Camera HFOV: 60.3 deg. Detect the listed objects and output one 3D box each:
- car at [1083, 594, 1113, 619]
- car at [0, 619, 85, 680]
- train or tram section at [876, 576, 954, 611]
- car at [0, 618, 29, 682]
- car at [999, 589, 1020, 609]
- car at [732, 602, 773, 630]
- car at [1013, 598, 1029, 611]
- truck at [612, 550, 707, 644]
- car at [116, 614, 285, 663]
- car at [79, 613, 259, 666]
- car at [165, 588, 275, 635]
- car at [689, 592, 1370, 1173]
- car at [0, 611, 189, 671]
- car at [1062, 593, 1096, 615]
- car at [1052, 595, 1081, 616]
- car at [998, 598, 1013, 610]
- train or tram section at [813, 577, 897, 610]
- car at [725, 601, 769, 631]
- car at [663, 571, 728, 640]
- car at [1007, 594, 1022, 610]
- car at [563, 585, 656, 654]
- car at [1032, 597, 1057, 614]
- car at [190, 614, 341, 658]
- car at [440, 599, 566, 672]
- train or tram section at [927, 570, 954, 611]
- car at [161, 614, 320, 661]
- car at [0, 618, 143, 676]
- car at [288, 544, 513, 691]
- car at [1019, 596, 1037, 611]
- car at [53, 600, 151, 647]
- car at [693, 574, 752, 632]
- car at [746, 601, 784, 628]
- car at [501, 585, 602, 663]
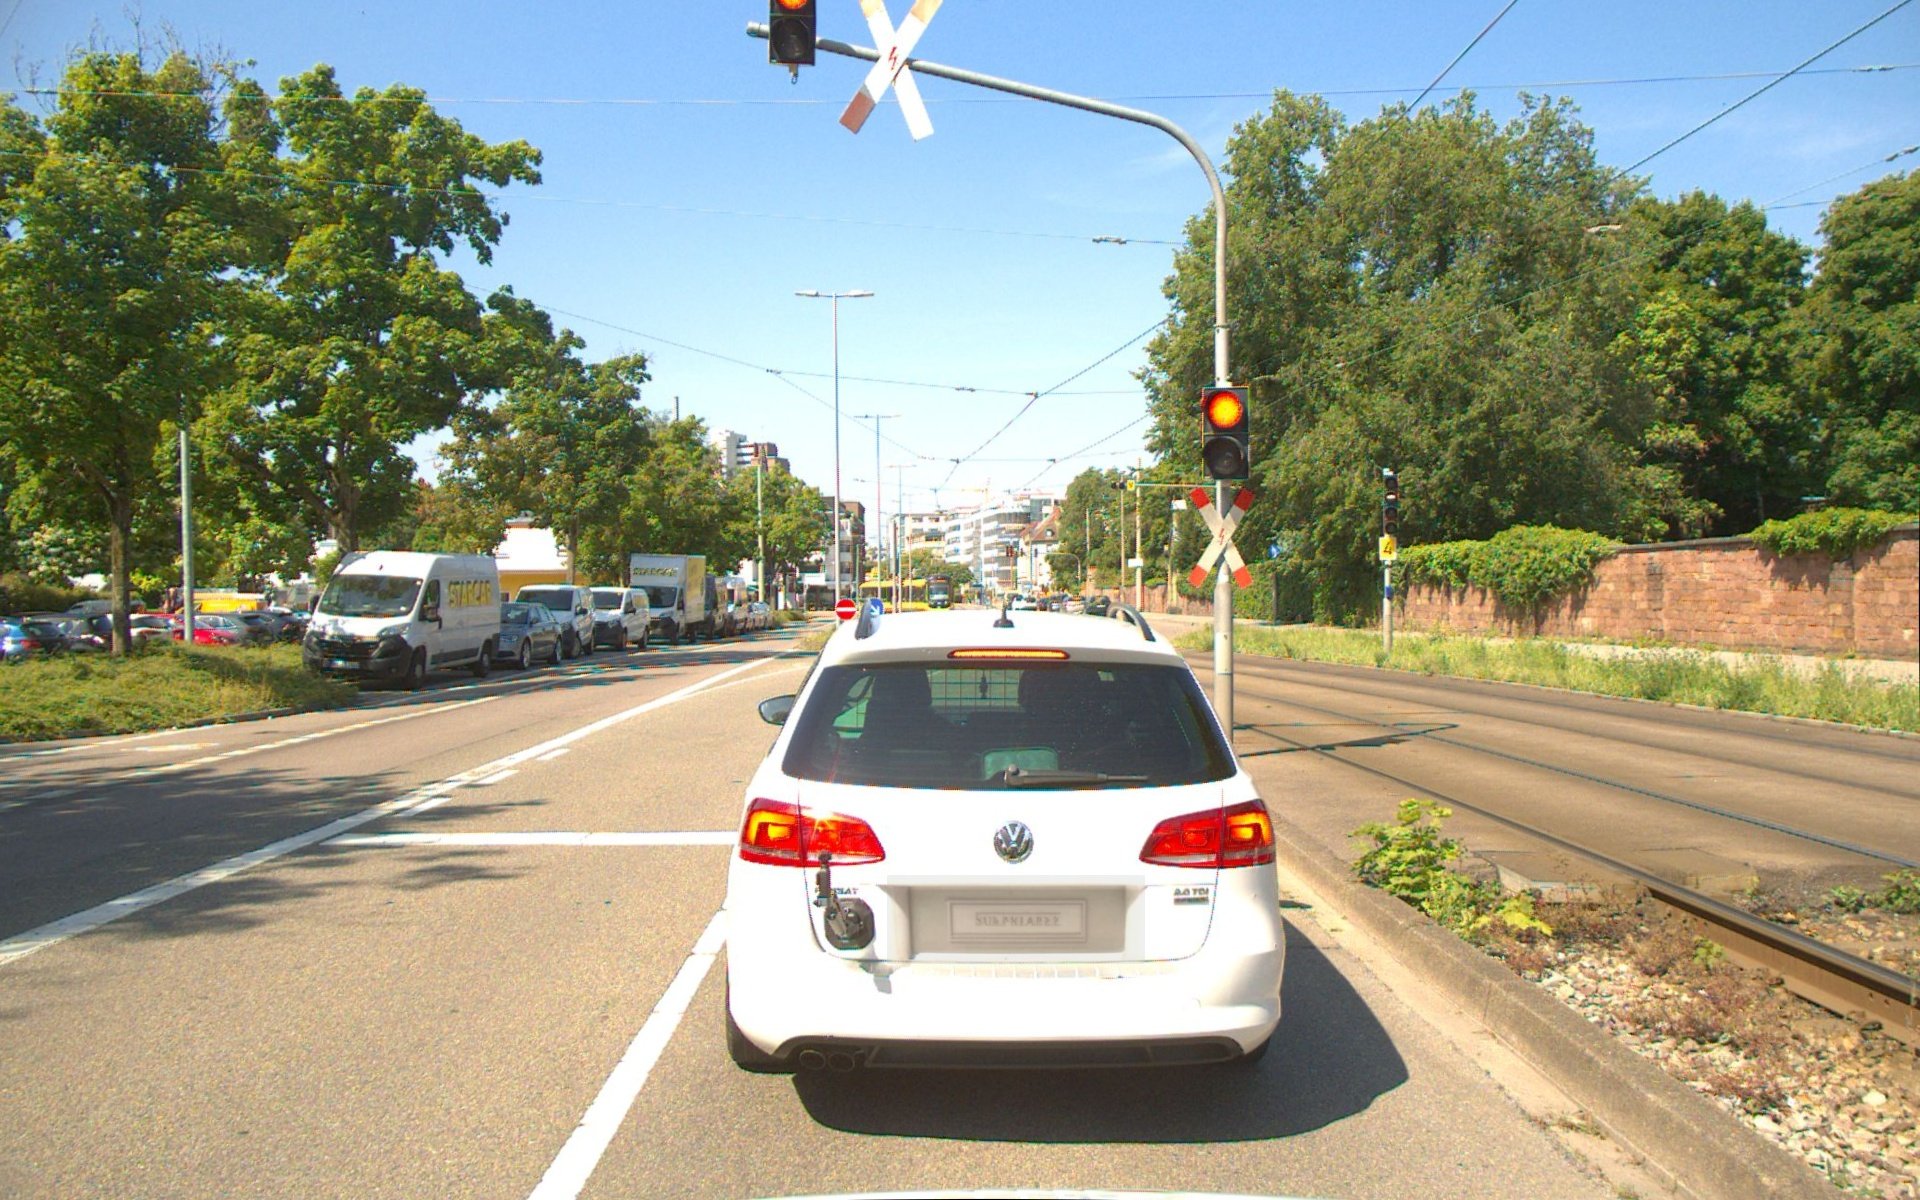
[{"bbox_3d":[8.376,0.375,100.541,1.709,1.412,3.914,1,0,3],"label":"car"},{"bbox_3d":[-21.287,1.081,35.653,3.904,1.246,1.772,-1,0,2],"label":"car"},{"bbox_3d":[-4.527,-0.628,163.652,2.281,3.309,10.679,2,-1,-34],"label":"train or tram section"},{"bbox_3d":[-20.963,1.047,32.840,3.907,1.246,1.770,-1,0,-3],"label":"car"},{"bbox_3d":[6.501,-0.123,216.699,2.413,2.542,5.908,1,-1,-1],"label":"car"},{"bbox_3d":[-11.374,0.867,90.915,1.806,1.458,4.037,-1,0,-1],"label":"car"},{"bbox_3d":[6.792,0.523,183.811,1.549,1.370,3.453,1,-1,-1],"label":"car"},{"bbox_3d":[-10.812,-0.118,60.104,2.309,3.177,6.889,-1,0,-2],"label":"truck"},{"bbox_3d":[-21.352,1.073,46.571,3.904,1.246,1.772,-1,0,2],"label":"car"},{"bbox_3d":[-20.999,1.036,43.982,3.904,1.286,1.772,-1,0,2],"label":"car"},{"bbox_3d":[-34.169,0.541,76.486,4.175,2.049,1.997,1,-1,-7],"label":"car"},{"bbox_3d":[0.130,0.723,6.212,1.732,1.471,3.912,1,0,-2],"label":"car"},{"bbox_3d":[-21.749,1.025,41.553,3.904,1.373,1.772,-1,0,2],"label":"car"},{"bbox_3d":[8.144,0.255,113.541,1.824,1.441,4.323,1,0,-2],"label":"car"},{"bbox_3d":[8.210,0.403,128.251,1.824,1.539,3.911,1,0,-2],"label":"car"},{"bbox_3d":[6.396,0.516,233.180,1.953,1.624,3.999,1,-1,0],"label":"car"},{"bbox_3d":[-10.930,-0.707,171.658,2.292,3.310,10.629,2,-1,-45],"label":"train or tram section"},{"bbox_3d":[-10.953,0.810,85.274,1.806,1.458,4.037,-1,0,-1],"label":"car"},{"bbox_3d":[-10.817,0.208,67.941,1.806,2.715,5.003,-1,0,0],"label":"car"},{"bbox_3d":[6.495,0.278,197.110,1.657,1.844,3.453,1,-1,-1],"label":"car"},{"bbox_3d":[-10.902,0.565,51.767,1.806,1.995,5.133,-1,0,0],"label":"car"},{"bbox_3d":[7.378,0.455,144.431,1.711,1.432,3.911,1,0,-3],"label":"car"},{"bbox_3d":[-21.573,1.113,51.487,3.904,1.246,1.772,-1,0,2],"label":"car"},{"bbox_3d":[-10.557,0.776,38.507,1.806,1.543,4.196,-1,0,-1],"label":"car"},{"bbox_3d":[-1.667,-0.760,143.697,2.254,3.309,11.272,1,-1,0],"label":"train or tram section"},{"bbox_3d":[-21.341,1.102,49.167,3.904,1.246,1.772,-1,0,2],"label":"car"},{"bbox_3d":[-21.617,1.113,38.874,3.904,1.246,1.772,-1,0,2],"label":"car"},{"bbox_3d":[-10.736,0.287,32.370,2.016,2.544,6.309,2,0,2],"label":"car"},{"bbox_3d":[6.763,0.363,165.085,1.549,1.370,3.453,1,-1,-1],"label":"car"},{"bbox_3d":[-36.981,0.990,71.351,3.354,1.909,1.552,-1,0,-3],"label":"car"},{"bbox_3d":[-10.824,0.120,75.765,1.806,2.538,5.856,-1,0,0],"label":"car"},{"bbox_3d":[-11.342,0.828,96.409,1.744,1.458,4.037,-1,0,-1],"label":"car"},{"bbox_3d":[-11.064,0.598,45.117,1.807,1.971,5.189,-1,0,-5],"label":"car"}]
